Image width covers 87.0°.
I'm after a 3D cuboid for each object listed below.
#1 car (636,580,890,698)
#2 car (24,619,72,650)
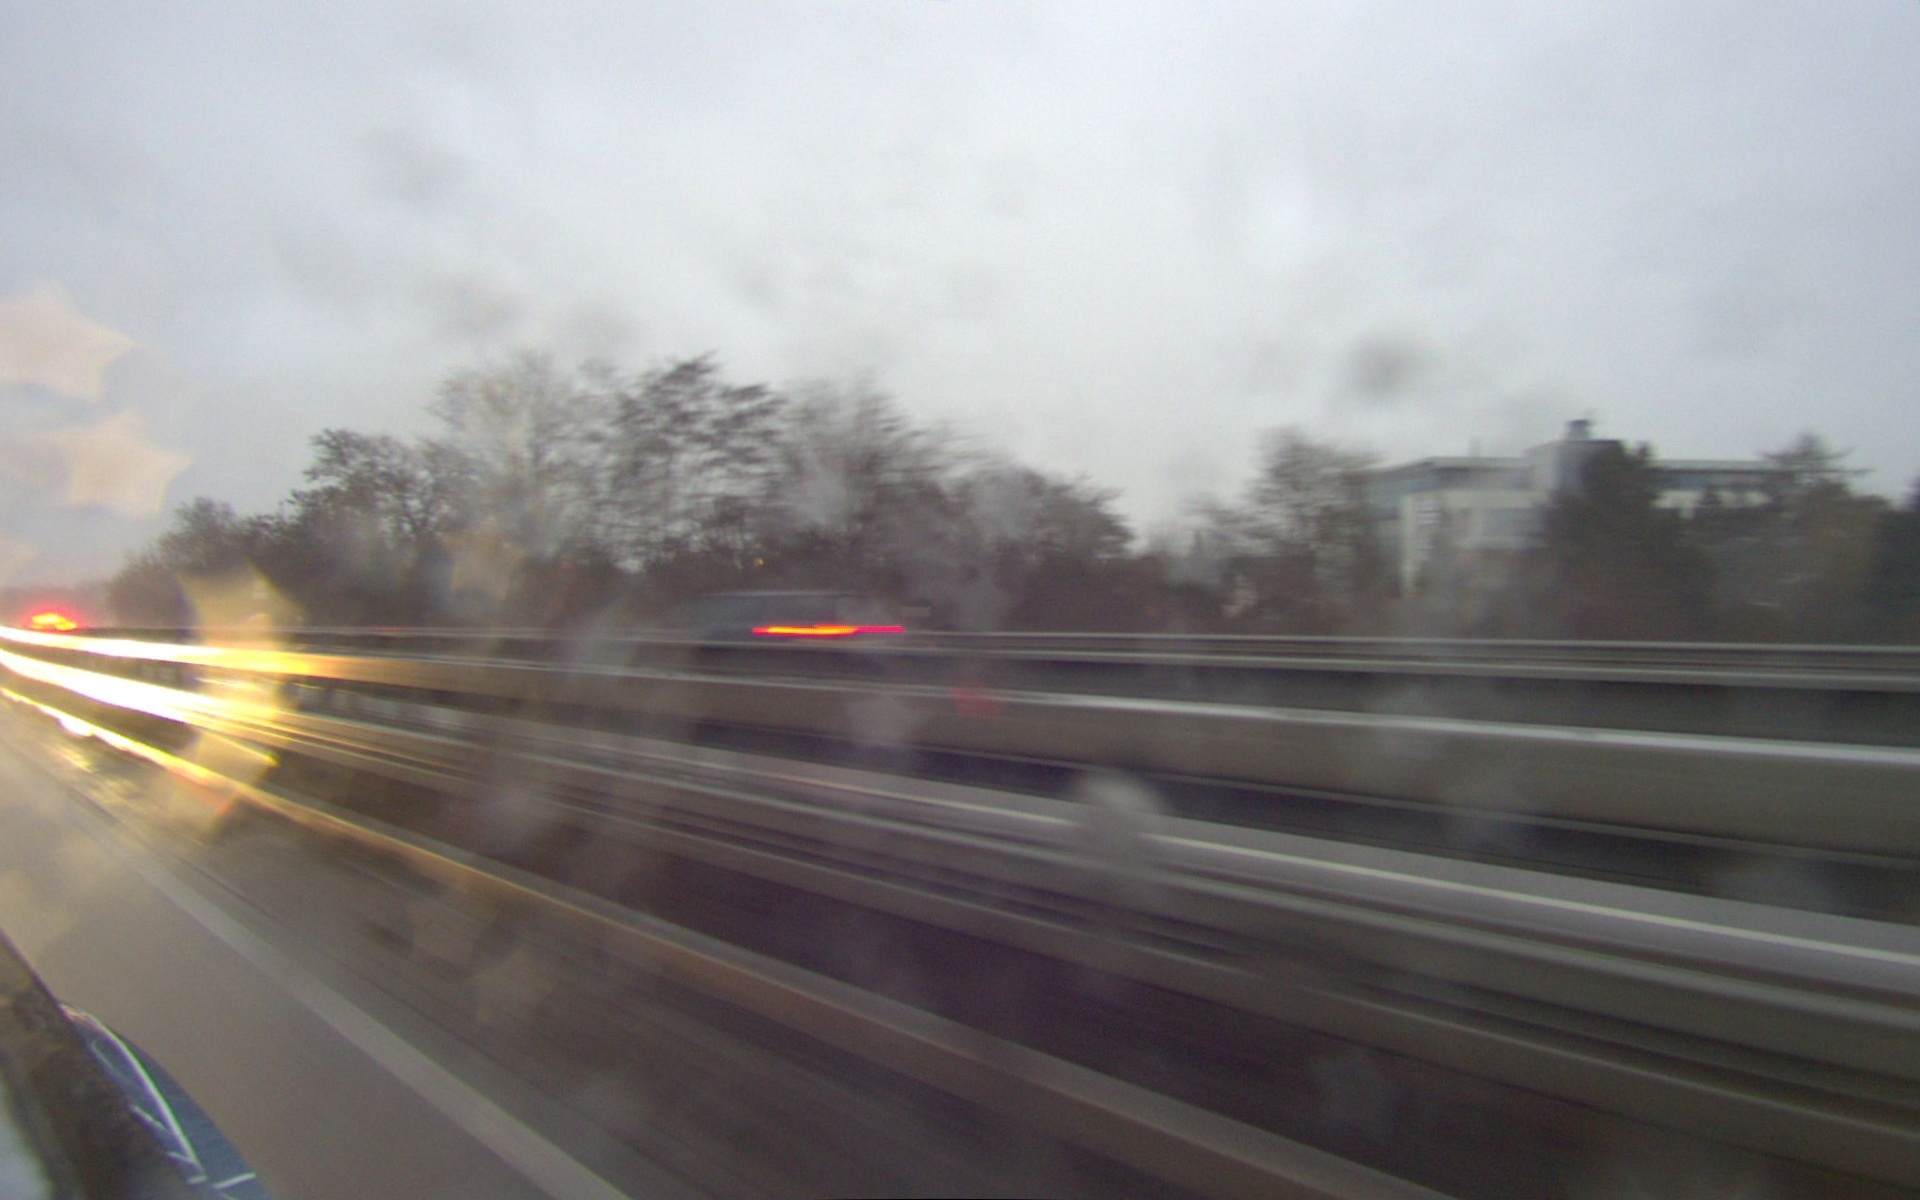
[{"bbox_3d":[-3.553,0.617,17.666,4.702,1.797,1.875,-1,0,42],"label":"car"},{"bbox_3d":[-51.872,1.936,57.562,4.001,1.652,1.721,-1,1,44],"label":"car"}]
